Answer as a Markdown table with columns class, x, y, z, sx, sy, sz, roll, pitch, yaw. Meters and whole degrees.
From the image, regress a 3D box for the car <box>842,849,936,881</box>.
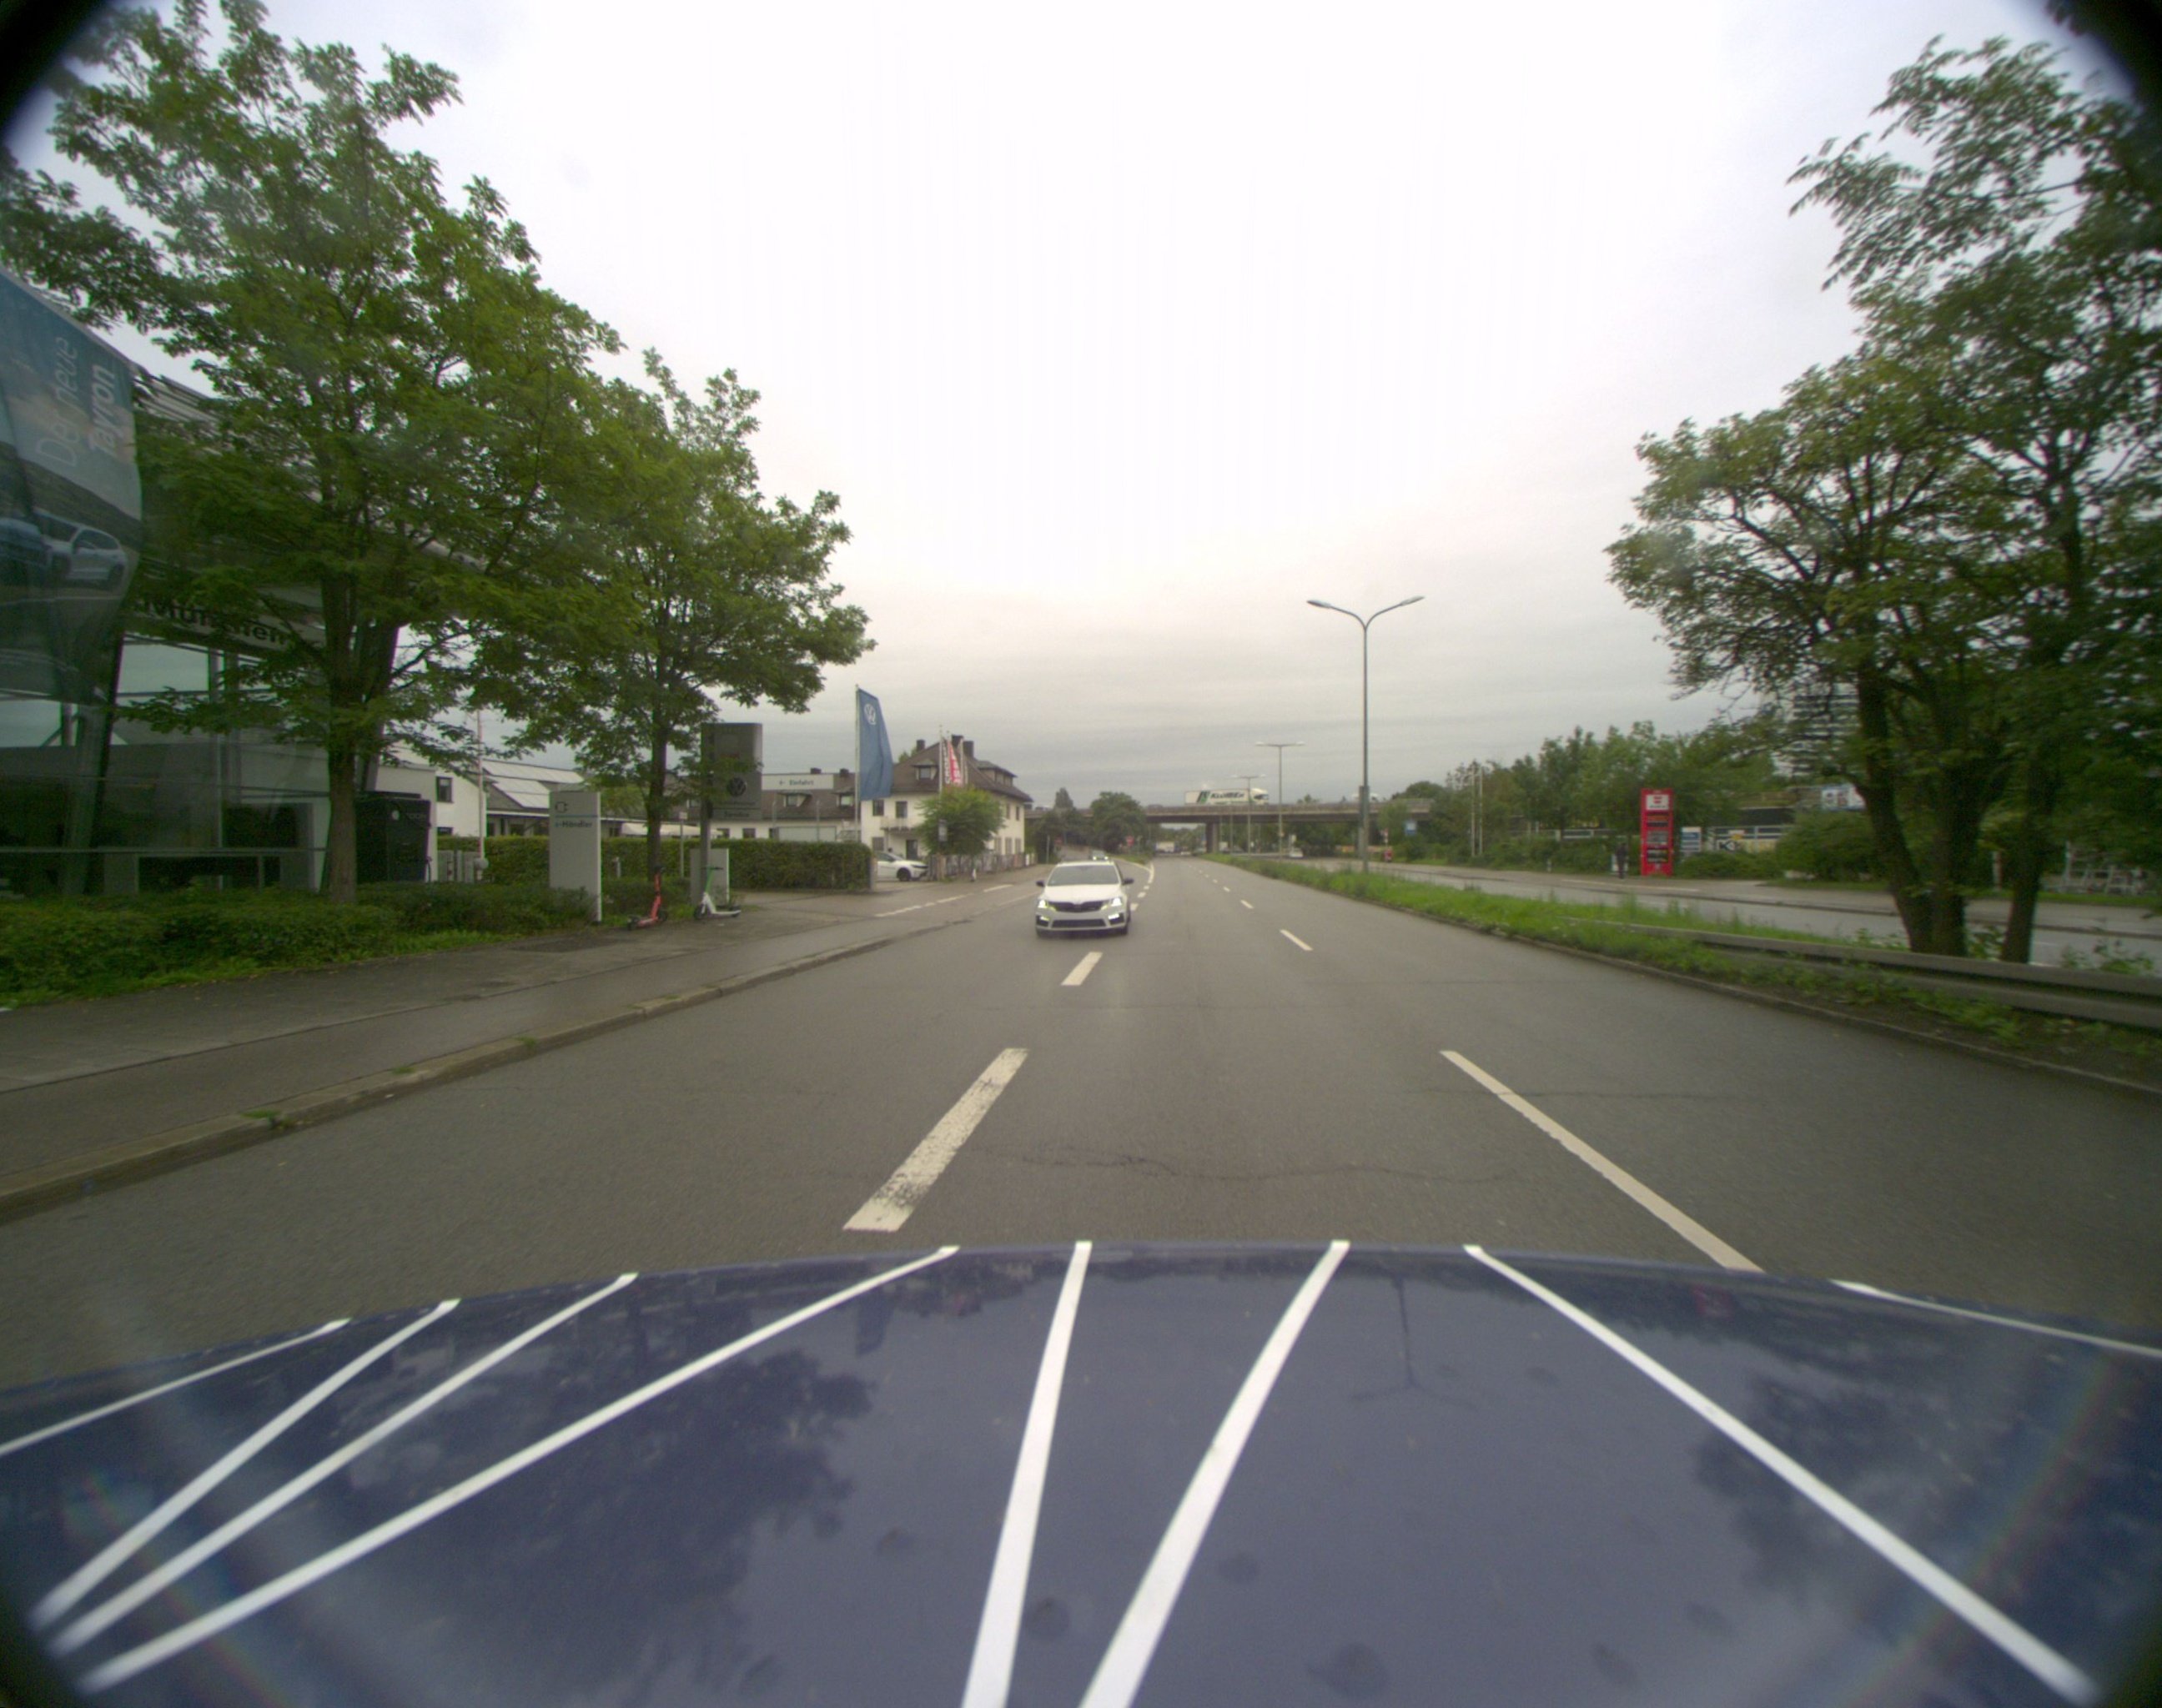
| class | x | y | z | sx | sy | sz | roll | pitch | yaw |
| --- | --- | --- | --- | --- | --- | --- | --- | --- | --- |
| car | -9.185 | 0.508 | 36.530 | 4.021 | 1.452 | 1.794 | 0 | 1 | 7 |

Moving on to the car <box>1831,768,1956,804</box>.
| class | x | y | z | sx | sy | sz | roll | pitch | yaw |
| --- | --- | --- | --- | --- | --- | --- | --- | --- | --- |
| car | 49.559 | -4.121 | 46.457 | 4.791 | 2.003 | 2.135 | 2 | 4 | 8 |

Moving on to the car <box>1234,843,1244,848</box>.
| class | x | y | z | sx | sy | sz | roll | pitch | yaw |
| --- | --- | --- | --- | --- | --- | --- | --- | --- | --- |
| car | 43.804 | -2.440 | 211.227 | 1.973 | 1.389 | 4.816 | 1 | 2 | 3 |

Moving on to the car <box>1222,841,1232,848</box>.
| class | x | y | z | sx | sy | sz | roll | pitch | yaw |
| --- | --- | --- | --- | --- | --- | --- | --- | --- | --- |
| car | 36.245 | -2.259 | 188.557 | 1.973 | 1.574 | 4.591 | 2 | 2 | 5 |

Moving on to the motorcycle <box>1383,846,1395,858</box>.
| class | x | y | z | sx | sy | sz | roll | pitch | yaw |
| --- | --- | --- | --- | --- | --- | --- | --- | --- | --- |
| motorcycle | 33.102 | -0.213 | 81.669 | 0.534 | 1.169 | 2.196 | 0 | 1 | 7 |

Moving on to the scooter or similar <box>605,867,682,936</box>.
| class | x | y | z | sx | sy | sz | roll | pitch | yaw |
| --- | --- | --- | --- | --- | --- | --- | --- | --- | --- |
| scooter or similar | -8.218 | 0.869 | 14.333 | 0.497 | 1.198 | 1.430 | 3 | 0 | 4 |

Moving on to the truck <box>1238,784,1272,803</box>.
| class | x | y | z | sx | sy | sz | roll | pitch | yaw |
| --- | --- | --- | --- | --- | --- | --- | --- | --- | --- |
| truck | 30.279 | -10.507 | 132.202 | 2.602 | 3.228 | 5.178 | -3 | 4 | -44 |

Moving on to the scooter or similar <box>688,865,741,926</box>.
| class | x | y | z | sx | sy | sz | roll | pitch | yaw |
| --- | --- | --- | --- | --- | --- | --- | --- | --- | --- |
| scooter or similar | -7.973 | 0.875 | 16.585 | 0.497 | 1.198 | 1.429 | 3 | 1 | -3 |

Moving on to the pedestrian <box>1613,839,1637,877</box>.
| class | x | y | z | sx | sy | sz | roll | pitch | yaw |
| --- | --- | --- | --- | --- | --- | --- | --- | --- | --- |
| pedestrian | 26.508 | 0.184 | 37.035 | 0.623 | 1.819 | 0.817 | 0 | 1 | 7 |

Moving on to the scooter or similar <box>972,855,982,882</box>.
| class | x | y | z | sx | sy | sz | roll | pitch | yaw |
| --- | --- | --- | --- | --- | --- | --- | --- | --- | --- |
| scooter or similar | -5.128 | 0.692 | 37.502 | 0.398 | 1.216 | 1.638 | 2 | 2 | -6 |

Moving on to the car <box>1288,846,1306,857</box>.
| class | x | y | z | sx | sy | sz | roll | pitch | yaw |
| --- | --- | --- | --- | --- | --- | --- | --- | --- | --- |
| car | 33.274 | -0.461 | 116.989 | 1.997 | 1.563 | 4.576 | 0 | 1 | 7 |

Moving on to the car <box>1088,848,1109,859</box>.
| class | x | y | z | sx | sy | sz | roll | pitch | yaw |
| --- | --- | --- | --- | --- | --- | --- | --- | --- | --- |
| car | 2.007 | -0.088 | 88.694 | 1.711 | 1.281 | 3.996 | 0 | 1 | -10 |

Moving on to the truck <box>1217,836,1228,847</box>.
| class | x | y | z | sx | sy | sz | roll | pitch | yaw |
| --- | --- | --- | --- | --- | --- | --- | --- | --- | --- |
| truck | 38.022 | -3.328 | 204.330 | 2.257 | 2.960 | 7.235 | 2 | 1 | 6 |

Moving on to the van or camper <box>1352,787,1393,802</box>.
| class | x | y | z | sx | sy | sz | roll | pitch | yaw |
| --- | --- | --- | --- | --- | --- | --- | --- | --- | --- |
| van or camper | 44.979 | -9.187 | 117.343 | 2.336 | 2.002 | 5.490 | -2 | 3 | -44 |

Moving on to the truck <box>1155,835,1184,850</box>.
| class | x | y | z | sx | sy | sz | roll | pitch | yaw |
| --- | --- | --- | --- | --- | --- | --- | --- | --- | --- |
| truck | 27.646 | -3.647 | 237.476 | 2.805 | 4.566 | 9.571 | 0 | 3 | -41 |

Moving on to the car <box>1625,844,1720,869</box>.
| class | x | y | z | sx | sy | sz | roll | pitch | yaw |
| --- | --- | --- | --- | --- | --- | --- | --- | --- | --- |
| car | 34.295 | 0.134 | 44.118 | 3.996 | 1.412 | 1.870 | 0 | 1 | 3 |

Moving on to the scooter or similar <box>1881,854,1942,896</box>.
| class | x | y | z | sx | sy | sz | roll | pitch | yaw |
| --- | --- | --- | --- | --- | --- | --- | --- | --- | --- |
| scooter or similar | 25.390 | 0.622 | 23.249 | 0.446 | 1.220 | 1.388 | 0 | 1 | 6 |

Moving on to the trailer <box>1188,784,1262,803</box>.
| class | x | y | z | sx | sy | sz | roll | pitch | yaw |
| --- | --- | --- | --- | --- | --- | --- | --- | --- | --- |
| trailer | 25.770 | -10.859 | 136.850 | 2.671 | 3.280 | 14.014 | -3 | 5 | -45 |

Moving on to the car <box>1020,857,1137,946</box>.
| class | x | y | z | sx | sy | sz | roll | pitch | yaw |
| --- | --- | --- | --- | --- | --- | --- | --- | --- | --- |
| car | 0.121 | 0.850 | 15.704 | 1.914 | 1.439 | 4.557 | -2 | 1 | 6 |
